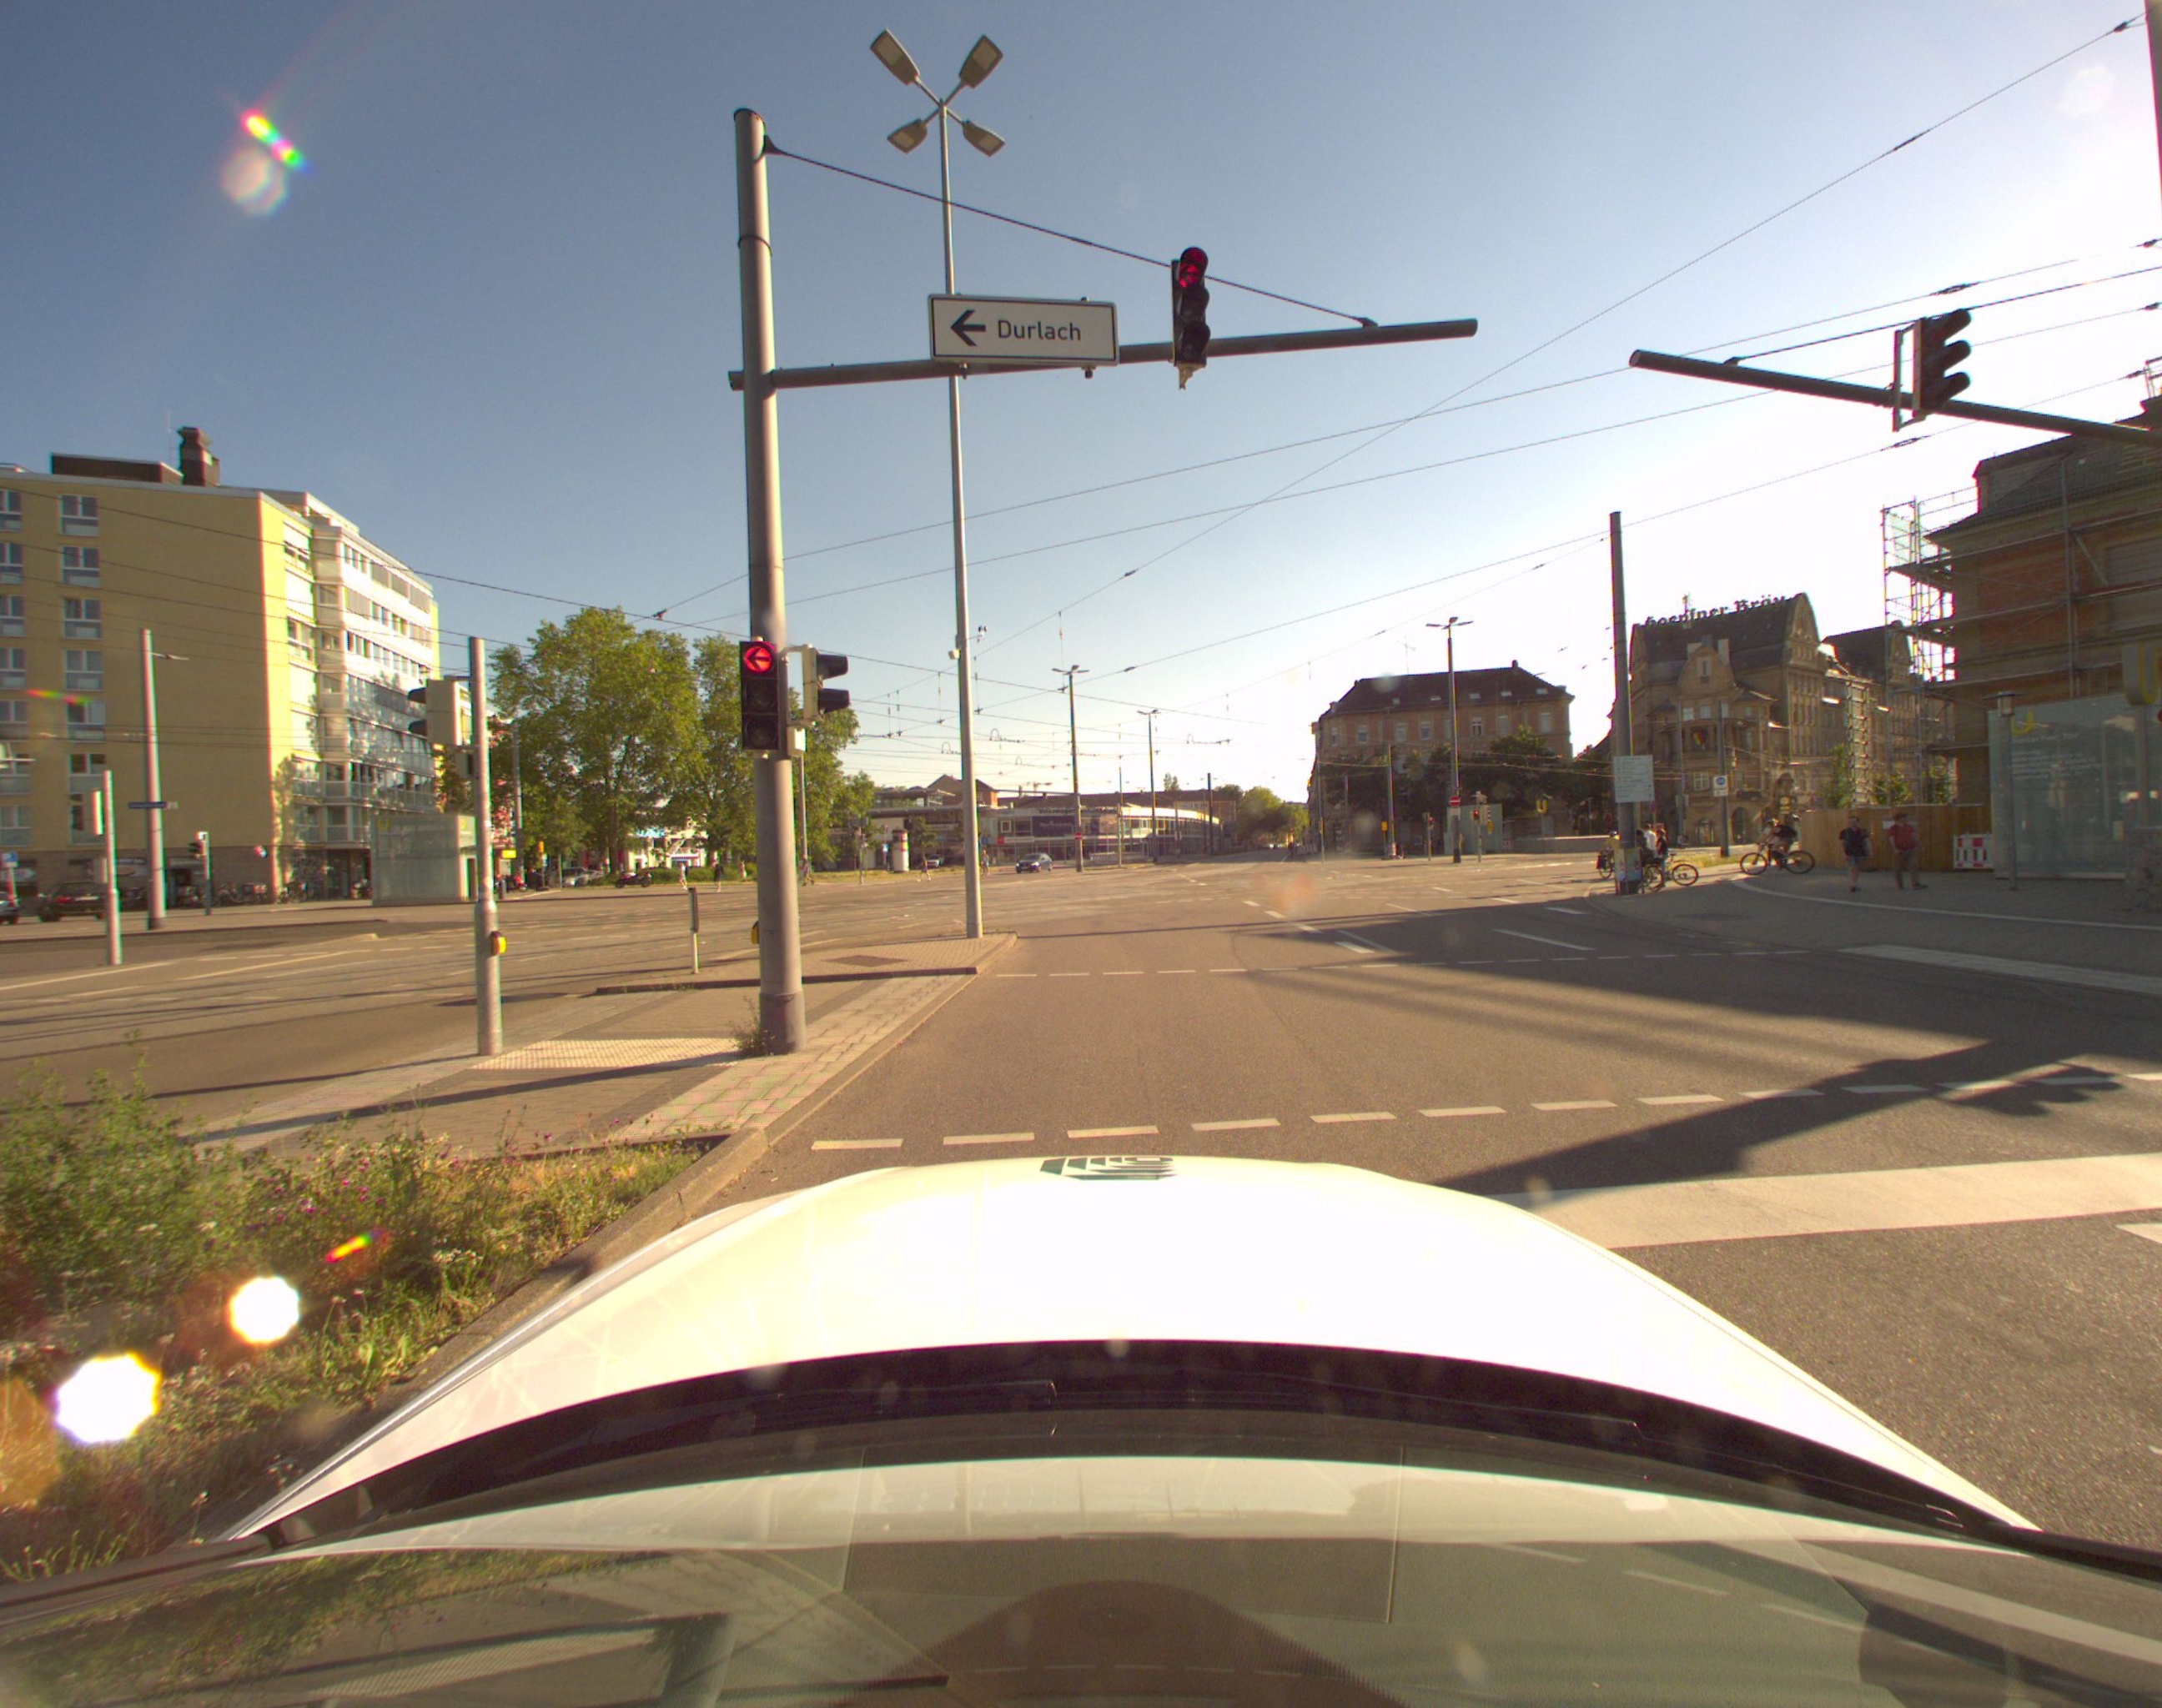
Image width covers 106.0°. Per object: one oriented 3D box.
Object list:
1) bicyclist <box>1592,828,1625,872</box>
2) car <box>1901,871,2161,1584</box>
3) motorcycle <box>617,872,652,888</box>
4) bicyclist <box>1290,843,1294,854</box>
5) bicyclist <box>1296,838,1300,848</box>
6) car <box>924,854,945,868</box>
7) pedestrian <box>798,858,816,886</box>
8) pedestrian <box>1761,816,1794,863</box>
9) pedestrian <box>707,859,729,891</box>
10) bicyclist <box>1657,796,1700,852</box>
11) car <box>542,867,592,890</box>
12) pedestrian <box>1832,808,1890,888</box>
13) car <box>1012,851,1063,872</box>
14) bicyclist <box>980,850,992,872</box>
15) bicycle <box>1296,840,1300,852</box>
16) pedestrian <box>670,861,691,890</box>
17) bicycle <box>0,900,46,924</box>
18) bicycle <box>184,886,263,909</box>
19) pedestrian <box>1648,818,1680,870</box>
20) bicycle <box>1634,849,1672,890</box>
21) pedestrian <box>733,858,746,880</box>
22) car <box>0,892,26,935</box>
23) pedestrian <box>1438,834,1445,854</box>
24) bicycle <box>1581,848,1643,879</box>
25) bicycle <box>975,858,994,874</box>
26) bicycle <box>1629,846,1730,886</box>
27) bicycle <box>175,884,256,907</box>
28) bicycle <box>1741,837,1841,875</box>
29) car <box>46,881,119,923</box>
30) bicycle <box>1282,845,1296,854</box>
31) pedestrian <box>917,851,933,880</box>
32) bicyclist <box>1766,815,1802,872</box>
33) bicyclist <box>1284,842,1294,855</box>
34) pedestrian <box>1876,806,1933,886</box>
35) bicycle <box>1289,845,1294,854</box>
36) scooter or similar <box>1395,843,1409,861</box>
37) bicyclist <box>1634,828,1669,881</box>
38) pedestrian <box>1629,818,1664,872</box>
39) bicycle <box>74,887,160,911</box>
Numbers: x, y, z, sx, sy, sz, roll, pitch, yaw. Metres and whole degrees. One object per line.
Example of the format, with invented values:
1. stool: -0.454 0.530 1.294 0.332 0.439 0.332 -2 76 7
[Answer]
1. bicyclist: 19.108 -0.141 29.524 0.514 1.557 0.945 0 -1 -6
2. car: 2.901 0.730 0.117 1.617 1.404 4.001 0 0 2
3. motorcycle: -27.266 1.578 49.756 1.779 0.914 0.675 0 -1 -19
4. bicyclist: 21.163 -0.534 81.781 0.405 1.116 0.400 -1 -1 13
5. bicyclist: 38.278 -1.949 143.800 0.595 1.809 0.830 -1 -1 15
6. car: -17.950 0.879 100.044 1.988 1.750 3.997 0 -1 -1
7. pedestrian: -16.800 1.114 49.993 0.790 1.706 0.760 -1 -1 9
8. pedestrian: 26.986 -0.554 31.564 0.646 1.814 0.689 0 -1 -6
9. pedestrian: -19.656 1.146 44.107 0.790 1.706 0.760 -1 -1 9
10. bicyclist: 17.325 -0.851 23.638 0.935 1.557 0.715 -1 -1 32
11. car: -37.308 1.720 59.239 1.772 1.567 3.983 0 -1 -12
12. pedestrian: 18.072 -0.140 18.876 0.672 1.807 0.680 -3 0 -19
13. car: -3.253 0.562 61.863 1.975 1.585 4.024 -1 -1 29
14. bicyclist: -7.013 0.544 60.183 0.593 1.615 0.826 -1 -1 19
15. bicycle: 38.234 -1.430 143.673 0.613 2.014 2.410 -1 -1 16
16. pedestrian: -23.280 1.248 47.296 0.790 1.706 0.760 -1 -1 9
17. bicycle: -54.543 2.926 41.080 3.041 1.151 0.637 0 -1 -16
18. bicycle: -46.519 2.364 44.200 3.041 1.151 0.637 0 -1 -16
19. pedestrian: 21.814 -0.355 30.490 0.646 1.922 0.689 0 -1 -6
20. bicycle: 15.915 0.410 22.710 0.692 1.049 2.335 0 1 31
21. pedestrian: -27.458 1.204 65.517 0.854 1.694 0.497 0 -1 -1
22. car: -46.996 2.543 34.883 3.948 1.706 2.013 -1 -1 35
23. pedestrian: 37.509 -1.019 84.761 0.598 2.013 0.649 -2 0 16
24. bicycle: 19.121 0.331 29.387 0.533 1.049 2.315 0 1 -6
25. bicycle: -7.089 0.857 59.967 0.607 1.189 1.878 -1 -1 19
26. bicycle: 17.317 0.364 23.646 2.290 1.049 0.705 -3 -2 32
27. bicycle: -46.266 2.192 43.574 3.041 1.151 0.637 0 -1 -16
28. bicycle: 22.356 0.071 25.699 2.290 1.049 0.539 -5 -1 36
29. car: -44.184 2.073 36.022 3.948 1.706 1.730 -1 -1 35
30. bicycle: 24.723 -0.526 96.846 0.662 0.952 1.583 0 -1 -34
31. pedestrian: -10.301 0.740 53.794 0.790 1.886 0.760 -1 -1 9
32. bicyclist: 22.246 -0.323 25.783 0.785 1.779 0.526 -1 -1 37
33. bicyclist: 24.727 -0.638 96.846 0.777 1.577 0.753 0 -1 -35
34. pedestrian: 18.969 -0.187 18.762 0.672 1.807 0.680 0 -1 -19
35. bicycle: 21.128 -0.452 81.670 0.407 0.941 1.852 -1 -1 15
36. scooter or similar: 24.781 -0.176 62.870 0.780 1.376 1.916 -1 -1 16
37. bicyclist: 15.871 0.008 22.671 0.701 1.439 0.953 -1 -1 30
38. pedestrian: 21.080 -0.335 30.379 0.730 2.014 0.760 0 -1 -6
39. bicycle: -50.296 2.336 42.507 3.041 1.151 0.637 0 -1 -16
